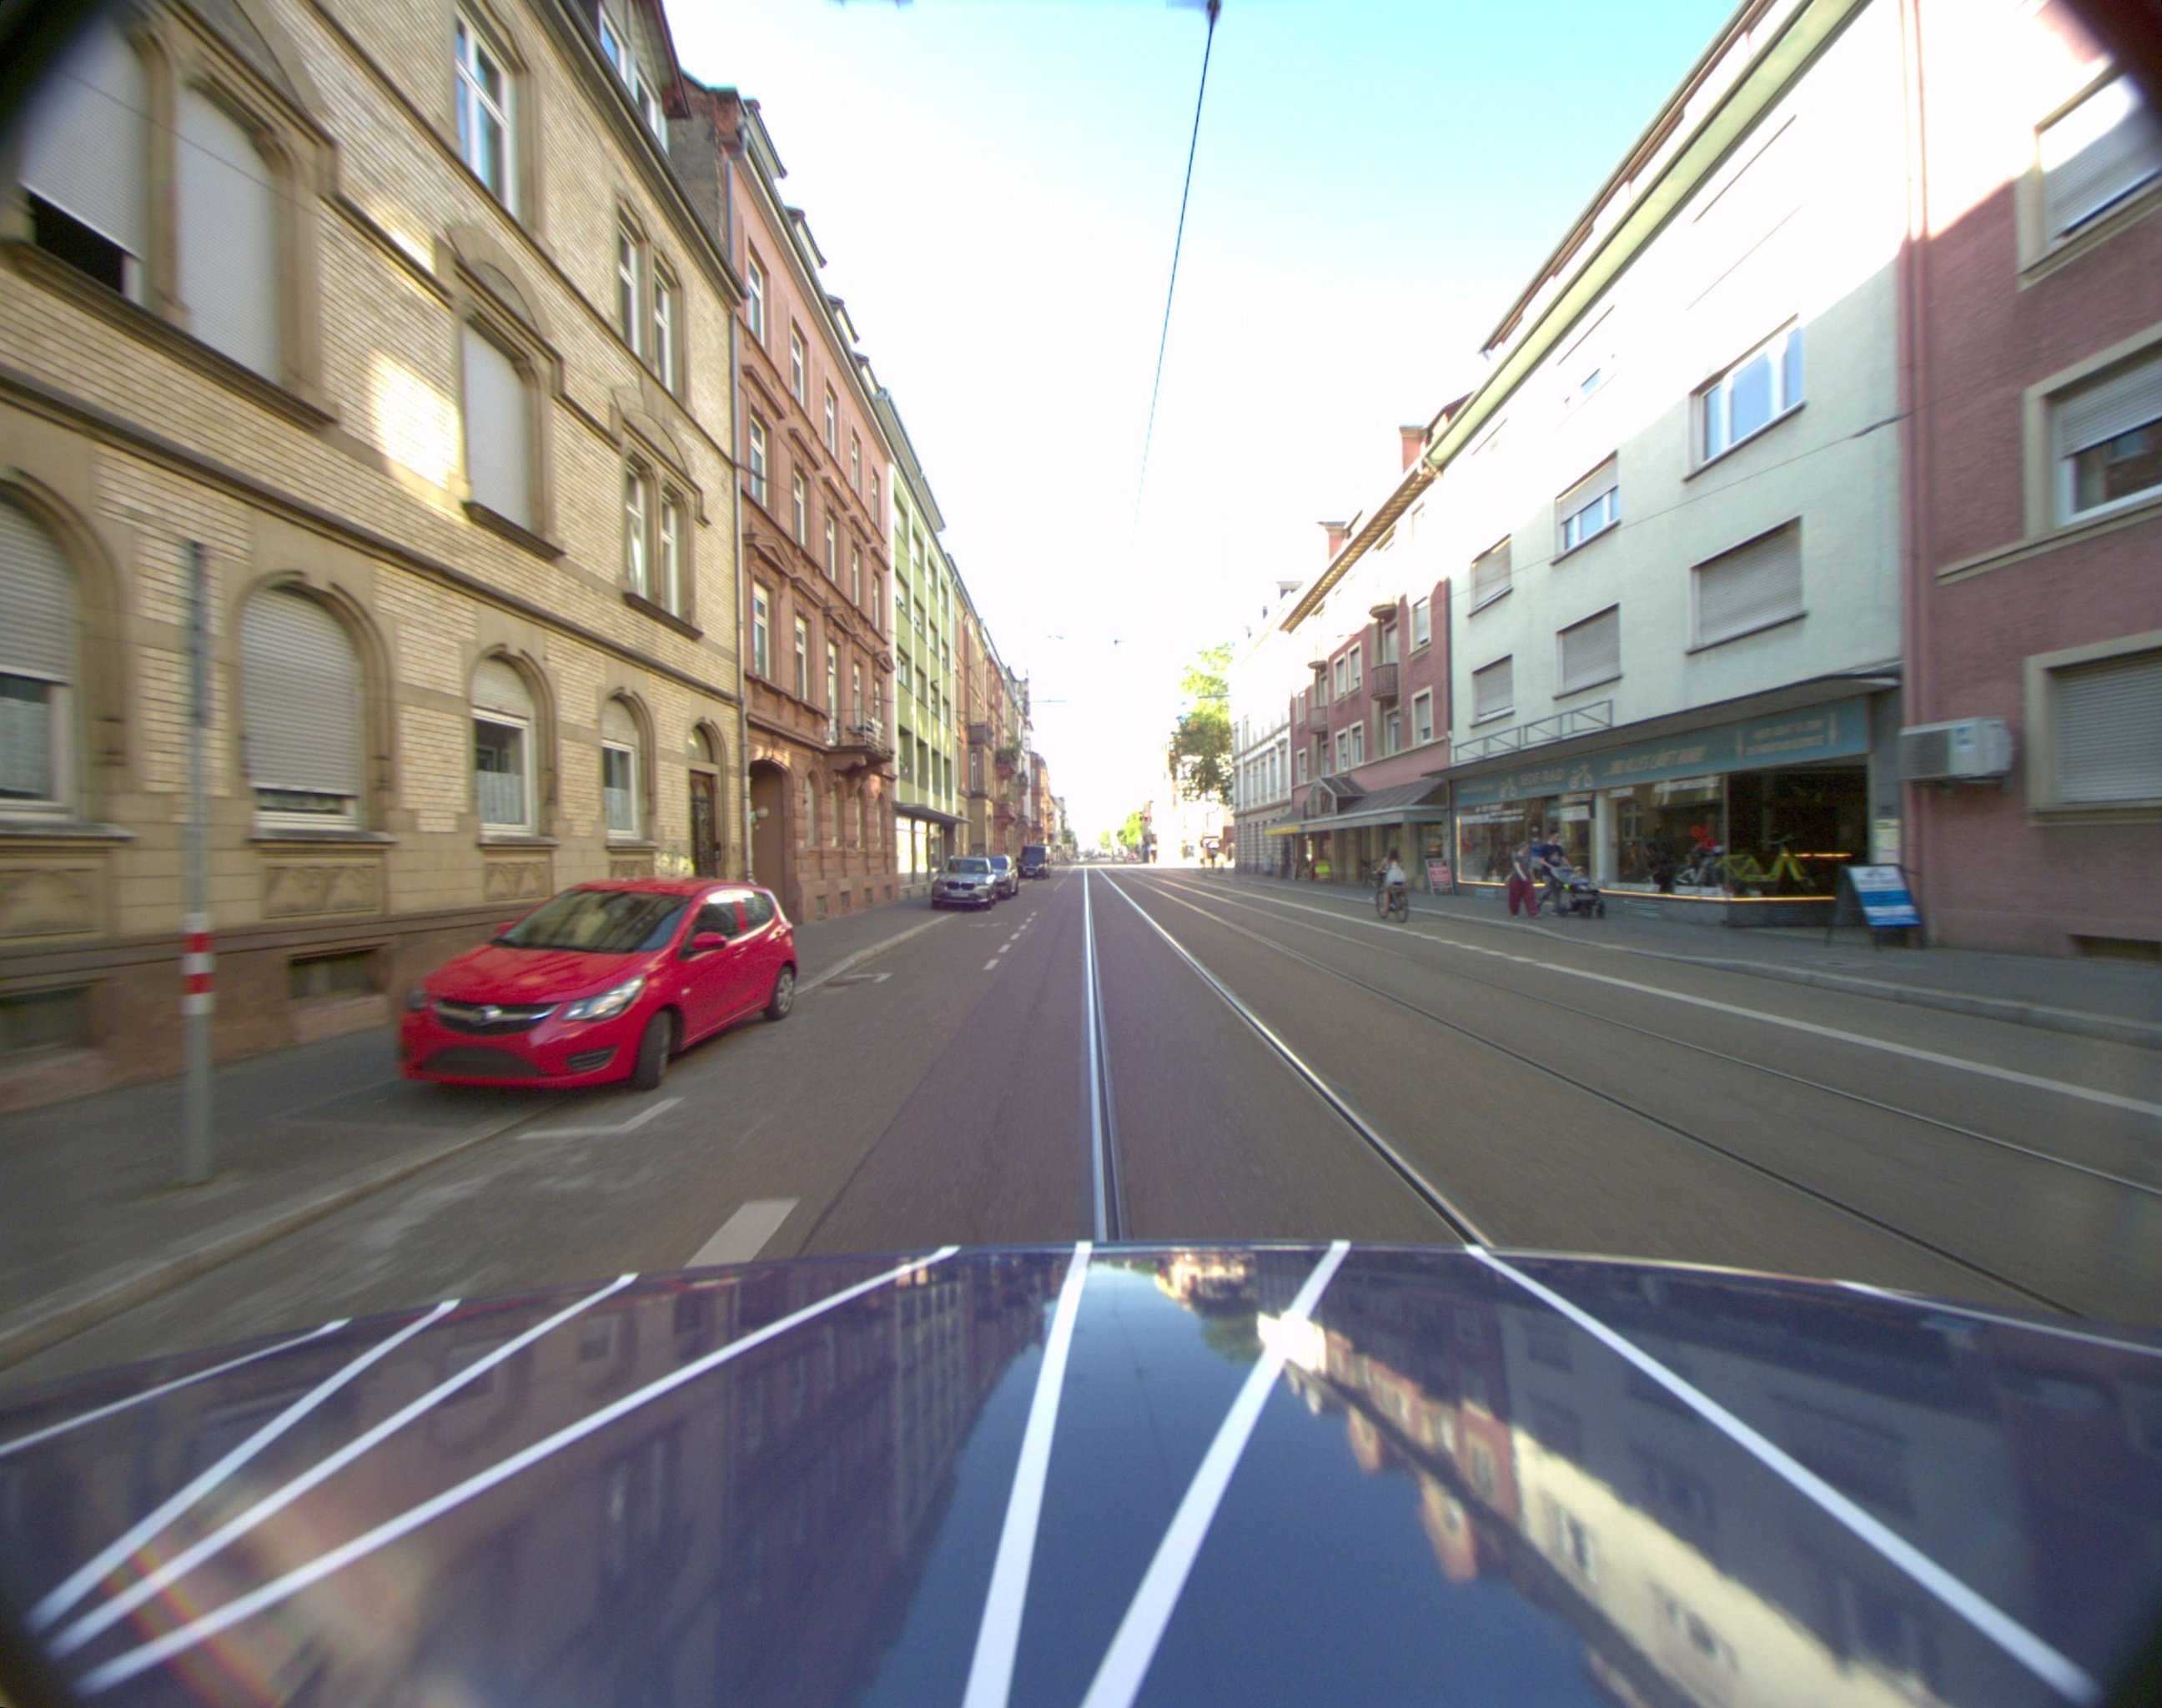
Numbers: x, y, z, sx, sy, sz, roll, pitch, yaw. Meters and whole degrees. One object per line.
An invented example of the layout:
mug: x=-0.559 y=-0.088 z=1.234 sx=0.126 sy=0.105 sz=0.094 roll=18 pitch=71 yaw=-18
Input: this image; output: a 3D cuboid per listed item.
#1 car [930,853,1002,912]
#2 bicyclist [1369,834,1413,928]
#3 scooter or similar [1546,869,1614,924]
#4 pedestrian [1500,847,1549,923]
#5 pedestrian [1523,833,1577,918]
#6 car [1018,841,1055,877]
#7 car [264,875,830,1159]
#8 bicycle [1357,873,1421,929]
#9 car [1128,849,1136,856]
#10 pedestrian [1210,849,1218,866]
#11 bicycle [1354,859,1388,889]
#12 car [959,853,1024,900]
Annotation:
car: x=-3.639 y=0.843 z=24.677 sx=1.871 sy=1.637 sz=4.399 roll=2 pitch=0 yaw=-4
bicyclist: x=6.794 y=0.579 z=16.677 sx=0.613 sy=2.002 sz=0.733 roll=-2 pitch=1 yaw=1
scooter or similar: x=10.192 y=0.854 z=15.554 sx=0.663 sy=1.055 sz=1.105 roll=-2 pitch=0 yaw=1
pedestrian: x=9.252 y=0.640 z=15.861 sx=0.637 sy=1.540 sz=0.623 roll=-2 pitch=1 yaw=0
pedestrian: x=10.195 y=0.454 z=16.528 sx=0.627 sy=1.779 sz=0.821 roll=-2 pitch=1 yaw=0
car: x=-3.266 y=0.321 z=57.334 sx=2.128 sy=2.478 sz=5.856 roll=-2 pitch=1 yaw=2
car: x=-3.913 y=1.034 z=6.720 sx=1.870 sy=1.474 sz=4.400 roll=2 pitch=1 yaw=0
bicycle: x=6.802 y=1.006 z=16.872 sx=0.603 sy=1.089 sz=2.044 roll=1 pitch=1 yaw=1
car: x=14.068 y=-0.438 z=210.478 sx=1.998 sy=2.002 sz=4.000 roll=-1 pitch=0 yaw=0
pedestrian: x=14.775 y=0.398 z=84.319 sx=0.795 sy=1.837 sz=0.809 roll=-2 pitch=1 yaw=4
bicycle: x=11.167 y=0.742 z=29.349 sx=0.425 sy=1.053 sz=2.329 roll=-2 pitch=1 yaw=0
car: x=-3.471 y=0.822 z=30.353 sx=1.998 sy=1.606 sz=4.785 roll=2 pitch=1 yaw=0
